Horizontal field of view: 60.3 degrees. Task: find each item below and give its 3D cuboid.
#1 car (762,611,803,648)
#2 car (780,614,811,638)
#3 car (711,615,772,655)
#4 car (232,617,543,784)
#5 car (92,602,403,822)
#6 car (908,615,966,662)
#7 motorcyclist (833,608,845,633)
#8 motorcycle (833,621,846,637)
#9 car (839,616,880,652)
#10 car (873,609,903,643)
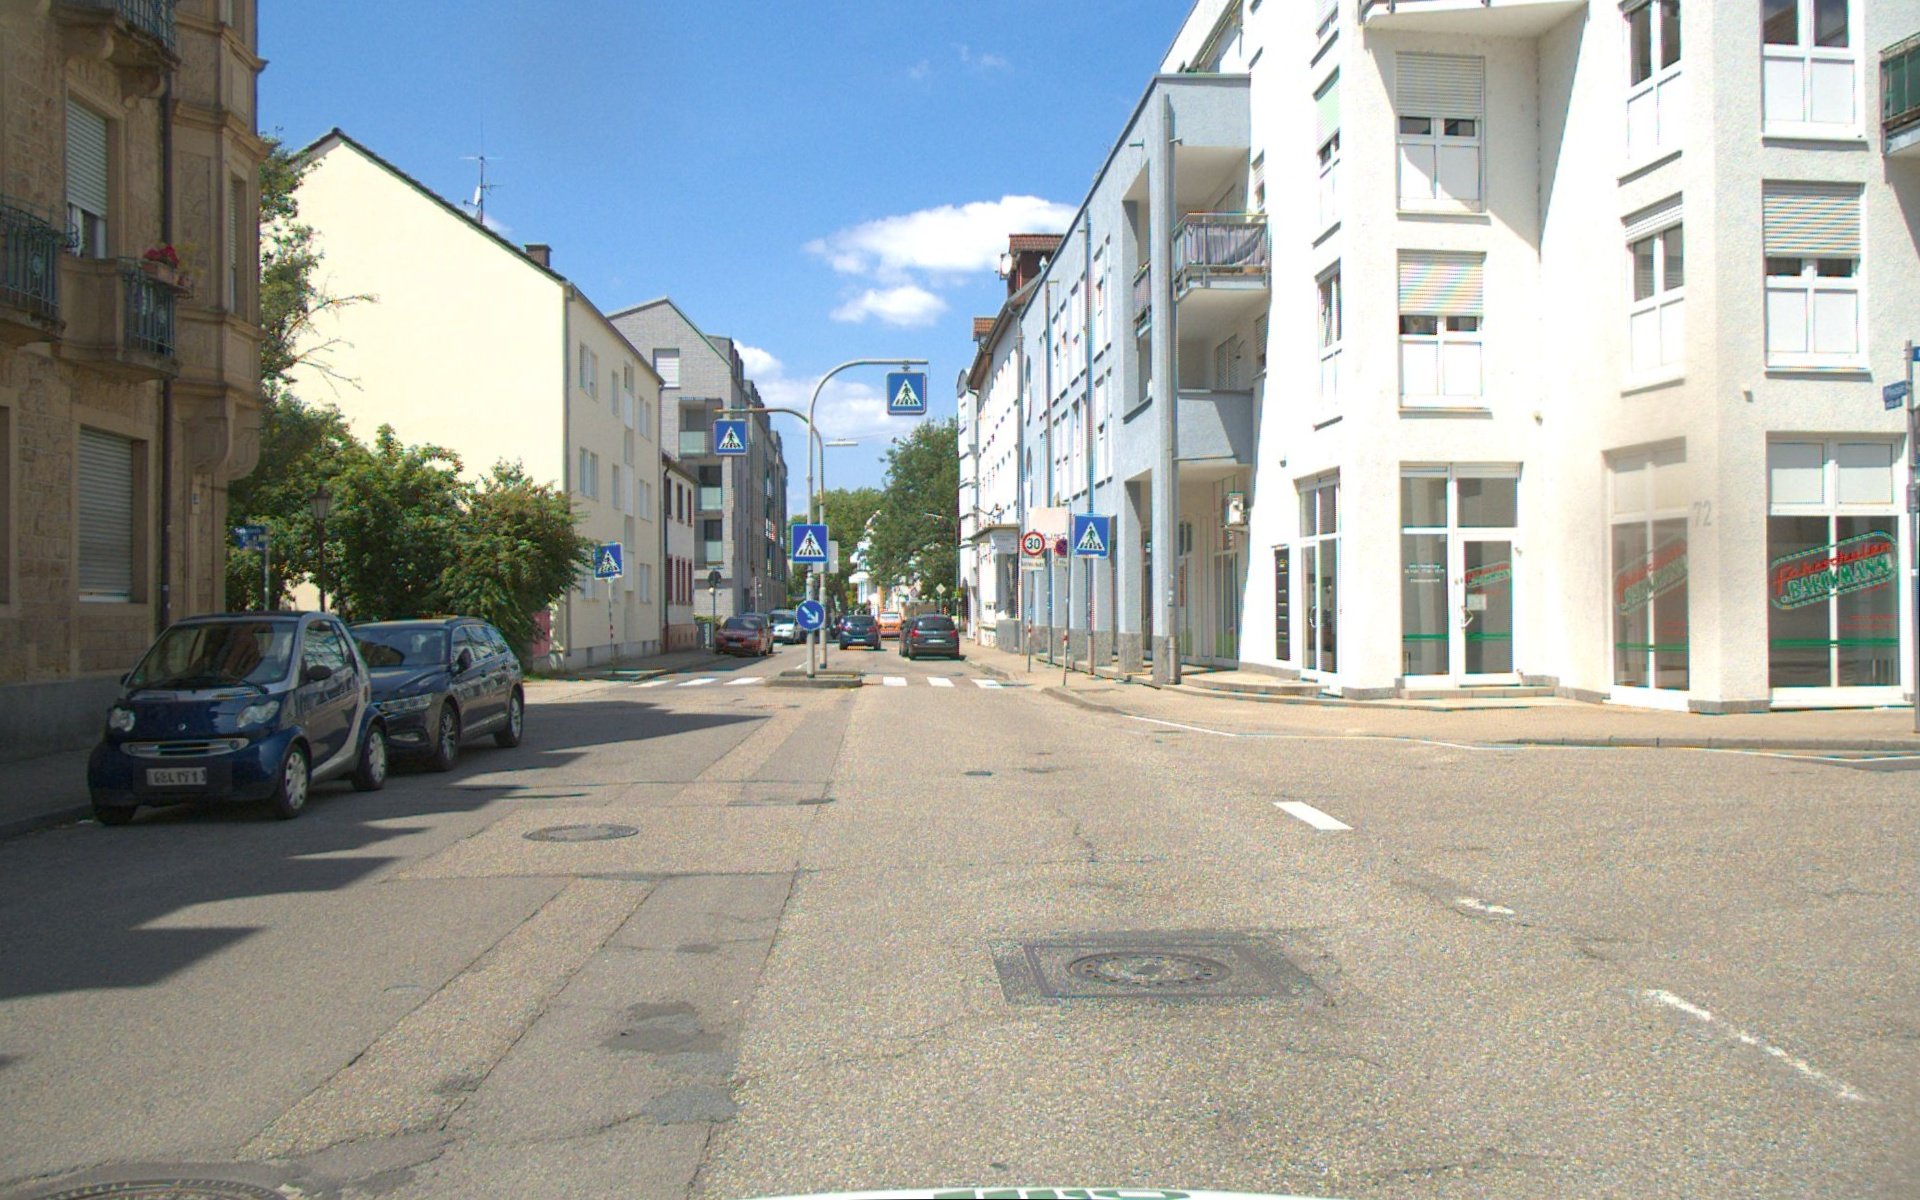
[{"bbox_3d":[-9.702,1.581,90.632,1.721,1.925,4.336,2,0,0],"label":"car"},{"bbox_3d":[-10.342,1.635,104.108,1.688,1.482,4.003,1,-1,-2],"label":"car"},{"bbox_3d":[-8.281,1.307,62.995,1.796,1.441,4.288,-1,-1,-1],"label":"car"},{"bbox_3d":[-5.820,0.946,17.441,1.747,1.484,4.633,-1,-1,-1],"label":"car"},{"bbox_3d":[-5.581,0.820,13.252,1.408,1.549,2.694,-1,-1,-3],"label":"car"},{"bbox_3d":[-0.820,1.284,56.092,1.676,1.534,3.995,-1,-1,-5],"label":"car"},{"bbox_3d":[-8.274,1.411,113.440,0.698,1.663,1.069,-1,0,0],"label":"motorcyclist"},{"bbox_3d":[-8.259,1.970,113.485,0.698,1.046,2.239,-1,0,0],"label":"motorcycle"},{"bbox_3d":[-4.303,1.430,70.833,1.681,1.427,3.997,-1,0,-3],"label":"car"},{"bbox_3d":[-4.555,1.608,103.971,1.802,2.049,3.998,-1,0,-3],"label":"car"}]
